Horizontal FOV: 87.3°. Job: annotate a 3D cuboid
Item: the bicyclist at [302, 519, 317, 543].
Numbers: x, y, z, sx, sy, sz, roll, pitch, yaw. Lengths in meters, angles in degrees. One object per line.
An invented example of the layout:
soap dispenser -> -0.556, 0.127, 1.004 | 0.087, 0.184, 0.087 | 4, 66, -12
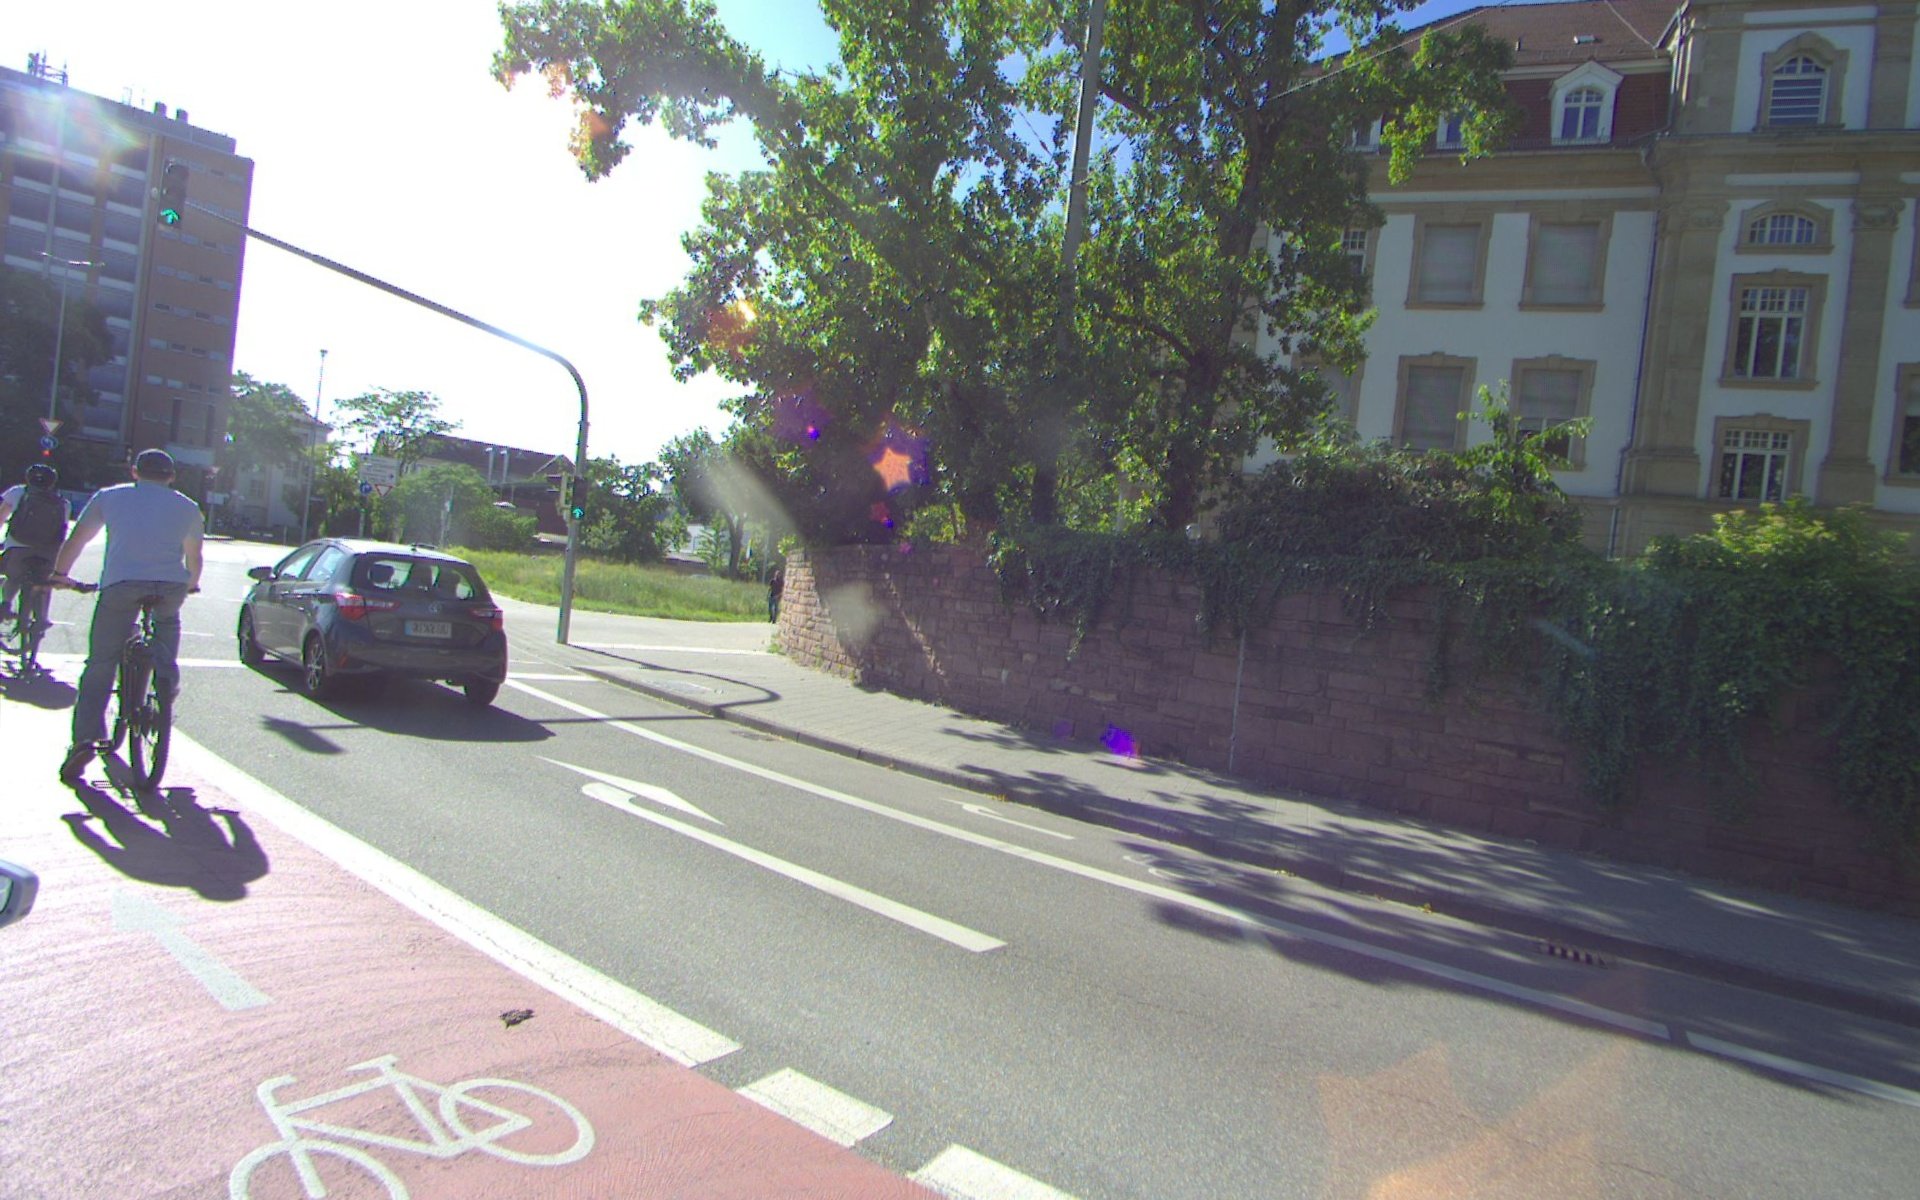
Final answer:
bicyclist -> -52.159, -5.535, 80.719 | 0.852, 1.712, 0.877 | 7, -1, -33

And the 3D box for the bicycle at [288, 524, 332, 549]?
bicycle -> -52.150, -5.054, 80.756 | 2.784, 1.559, 0.877 | 8, -2, -34

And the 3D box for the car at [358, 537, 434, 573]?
car -> -41.461, -3.272, 74.109 | 4.611, 2.037, 1.987 | 7, -2, -28

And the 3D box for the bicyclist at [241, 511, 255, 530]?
bicyclist -> -58.582, -6.543, 82.754 | 0.611, 1.462, 0.816 | 7, 1, -17

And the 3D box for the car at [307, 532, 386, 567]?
car -> -45.811, -3.732, 75.208 | 4.603, 1.922, 1.991 | 7, -2, -22

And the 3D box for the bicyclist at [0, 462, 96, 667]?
bicyclist -> -8.134, -0.320, 8.759 | 0.720, 1.645, 1.042 | 8, -1, -44

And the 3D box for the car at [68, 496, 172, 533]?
car -> -48.987, -4.974, 58.735 | 1.791, 1.589, 4.244 | 6, 1, 25

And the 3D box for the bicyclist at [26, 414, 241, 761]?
bicyclist -> -4.779, -0.057, 5.801 | 0.747, 1.797, 1.002 | 7, 0, -43

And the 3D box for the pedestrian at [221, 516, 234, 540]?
pedestrian -> -55.174, -5.449, 75.808 | 0.550, 1.690, 0.474 | 6, -1, -21

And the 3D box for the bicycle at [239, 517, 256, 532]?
bicycle -> -58.664, -6.201, 82.852 | 0.601, 1.106, 1.665 | 6, 1, -17

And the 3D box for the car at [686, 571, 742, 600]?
car -> -21.935, -1.283, 89.769 | 4.310, 2.037, 1.988 | 7, -2, -27

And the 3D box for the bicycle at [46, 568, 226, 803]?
bicycle -> -4.821, 0.433, 5.836 | 0.609, 1.090, 1.808 | 7, -1, -43

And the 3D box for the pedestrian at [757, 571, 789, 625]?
pedestrian -> -6.696, -0.071, 36.058 | 0.746, 1.856, 1.049 | 6, 1, 4

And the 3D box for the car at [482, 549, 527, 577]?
car -> -38.829, -3.127, 85.861 | 1.872, 1.957, 3.864 | 6, -2, 1

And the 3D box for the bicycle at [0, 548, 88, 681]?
bicycle -> -8.295, 0.084, 8.888 | 0.721, 0.971, 1.860 | 8, -1, -44

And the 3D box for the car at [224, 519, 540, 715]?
car -> -6.208, 0.122, 10.654 | 3.609, 1.558, 1.755 | 6, -3, 43
